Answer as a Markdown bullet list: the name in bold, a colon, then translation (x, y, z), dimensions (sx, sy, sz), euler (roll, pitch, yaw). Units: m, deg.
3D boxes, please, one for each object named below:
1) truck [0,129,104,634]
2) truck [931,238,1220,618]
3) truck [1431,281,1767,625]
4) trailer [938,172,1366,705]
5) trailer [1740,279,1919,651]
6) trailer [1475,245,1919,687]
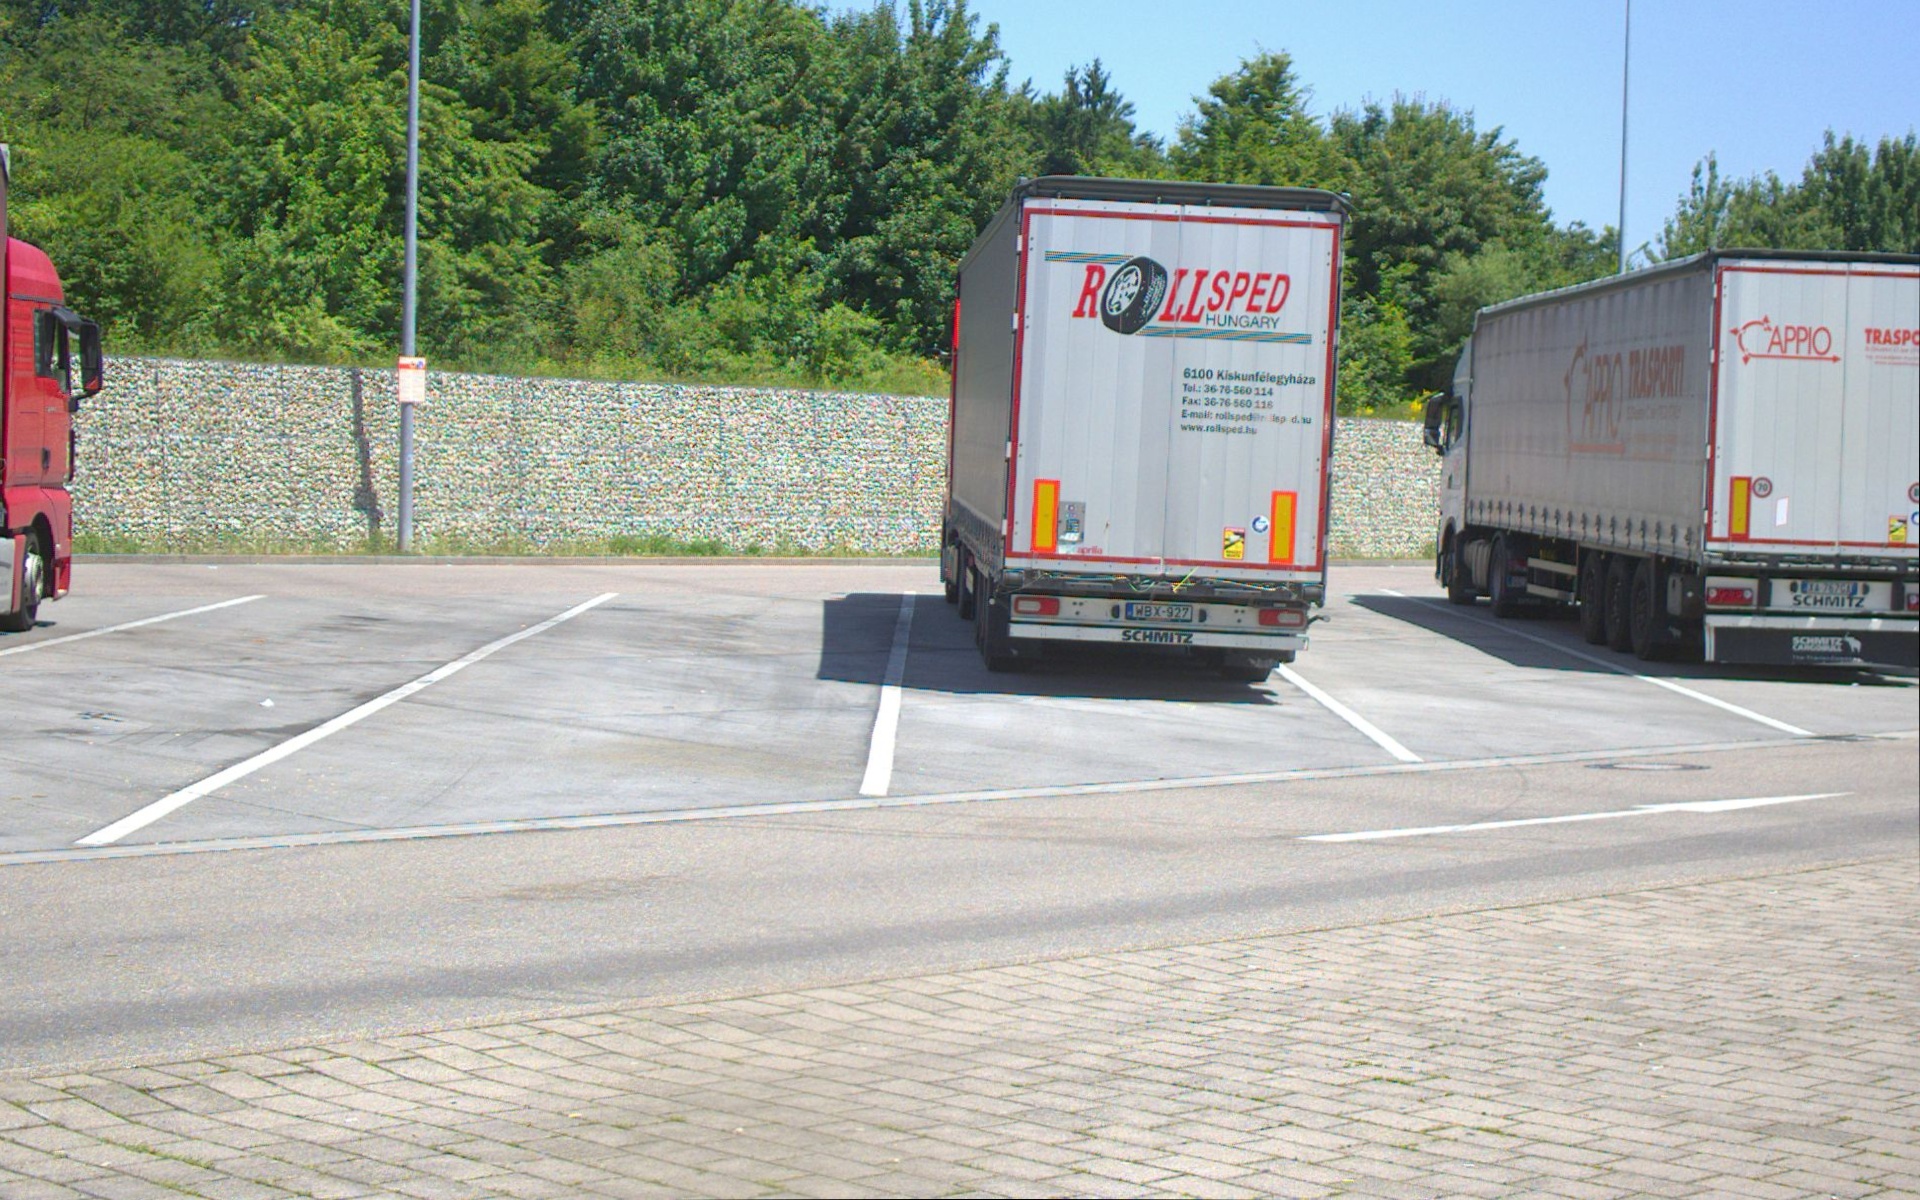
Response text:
- **truck**: translation (-9.156, -1.812, 27.999), dimensions (2.696, 4.099, 6.240), euler (2, 3, 0)
- **truck**: translation (1.217, -2.054, 40.718), dimensions (2.866, 4.023, 7.028), euler (2, 3, -2)
- **truck**: translation (8.114, -1.949, 44.604), dimensions (2.866, 4.023, 6.957), euler (2, 3, 0)
- **trailer**: translation (1.430, -1.635, 33.639), dimensions (2.866, 4.023, 14.243), euler (2, 3, -2)
- **trailer**: translation (11.829, -1.526, 39.042), dimensions (2.866, 4.023, 12.439), euler (2, 3, 0)
- **trailer**: translation (8.174, -1.566, 37.977), dimensions (2.866, 4.023, 12.439), euler (2, 3, 0)
